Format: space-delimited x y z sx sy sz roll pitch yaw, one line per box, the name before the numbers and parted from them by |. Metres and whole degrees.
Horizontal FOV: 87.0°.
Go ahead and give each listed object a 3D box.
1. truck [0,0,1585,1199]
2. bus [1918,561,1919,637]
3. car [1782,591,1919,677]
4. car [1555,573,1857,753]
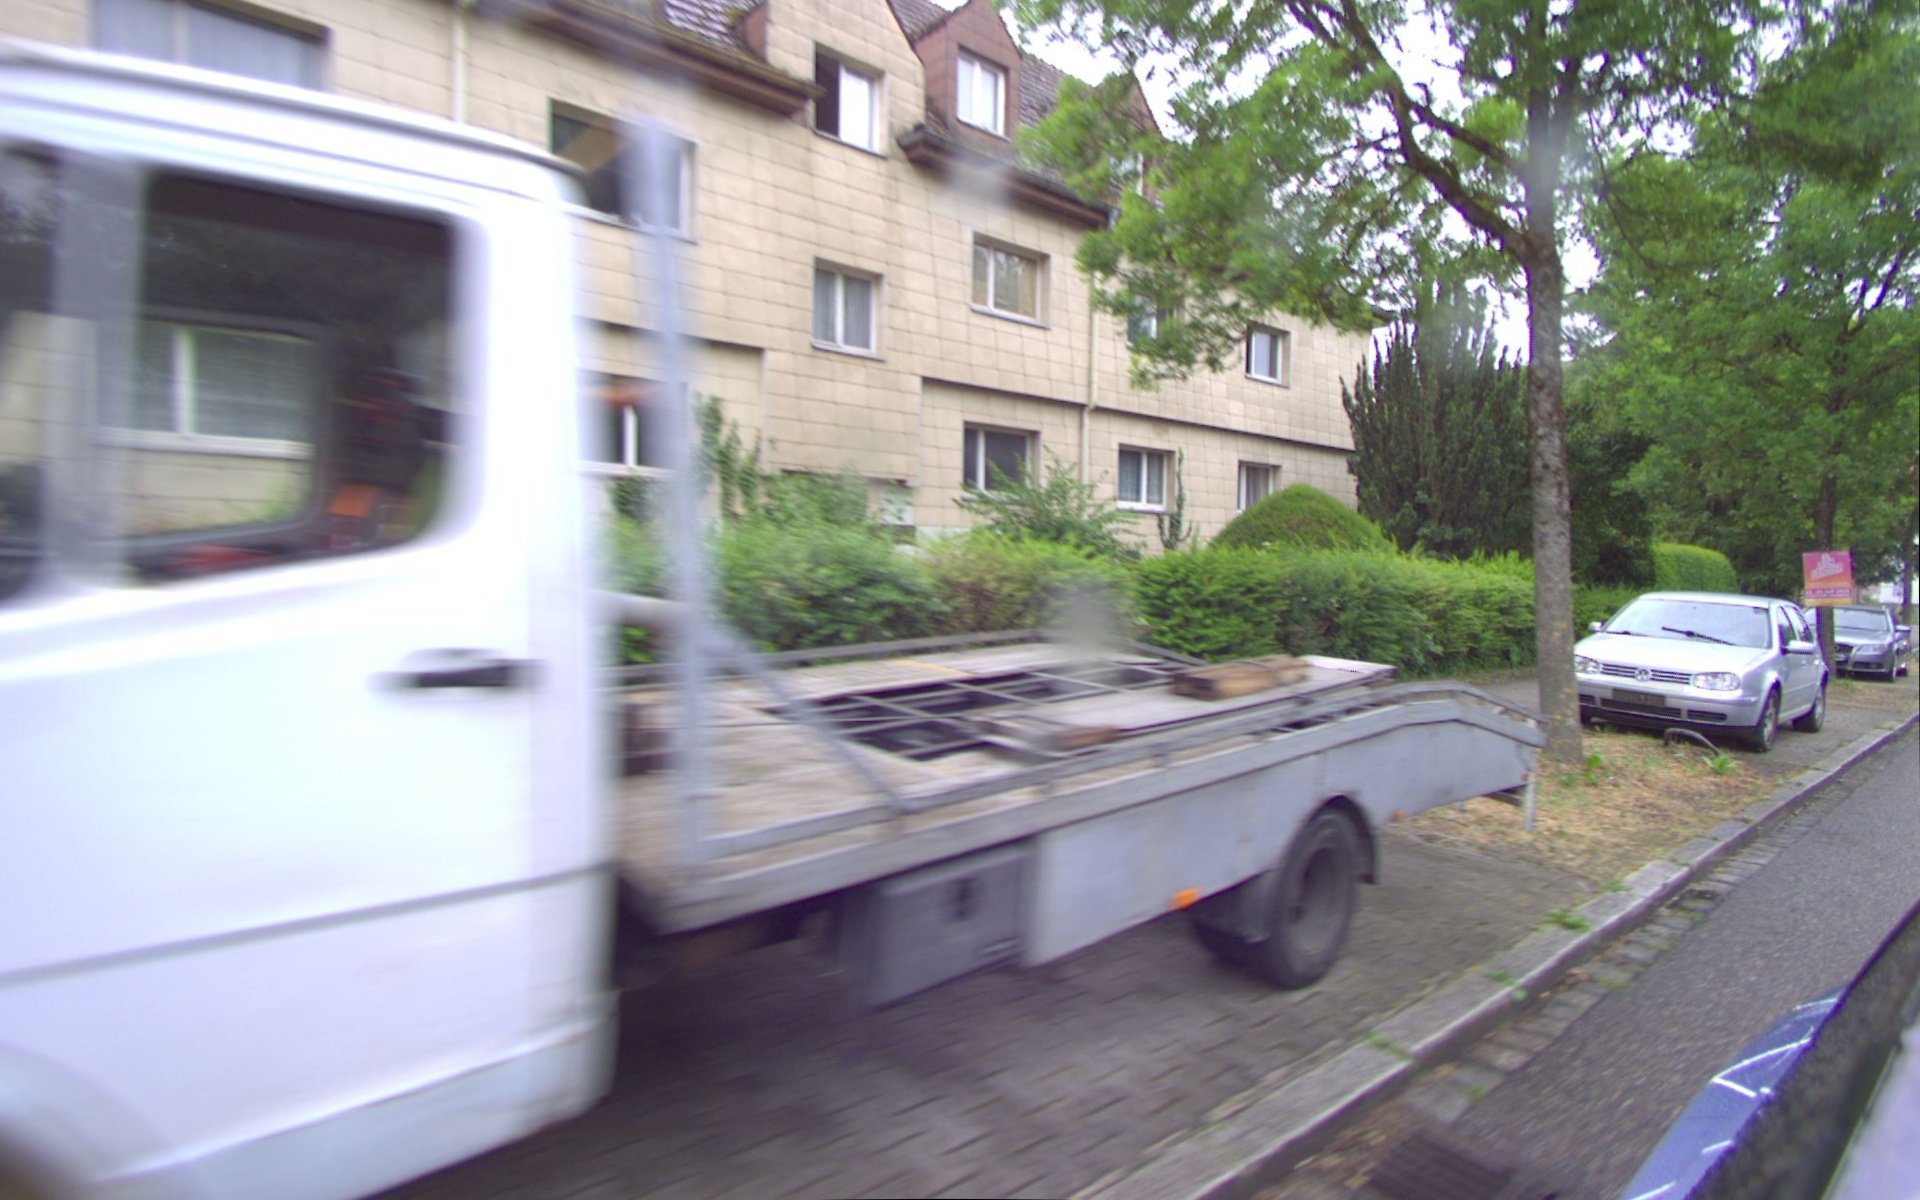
truck | -0.116 0.090 3.531 6.390 2.248 2.084 0 4 -42
bus | 36.466 0.014 36.040 2.550 2.996 8.440 1 1 38
car | 17.667 0.590 19.846 4.422 1.406 1.691 0 4 -42
car | 7.893 0.553 10.581 3.950 1.453 1.606 1 4 -41
